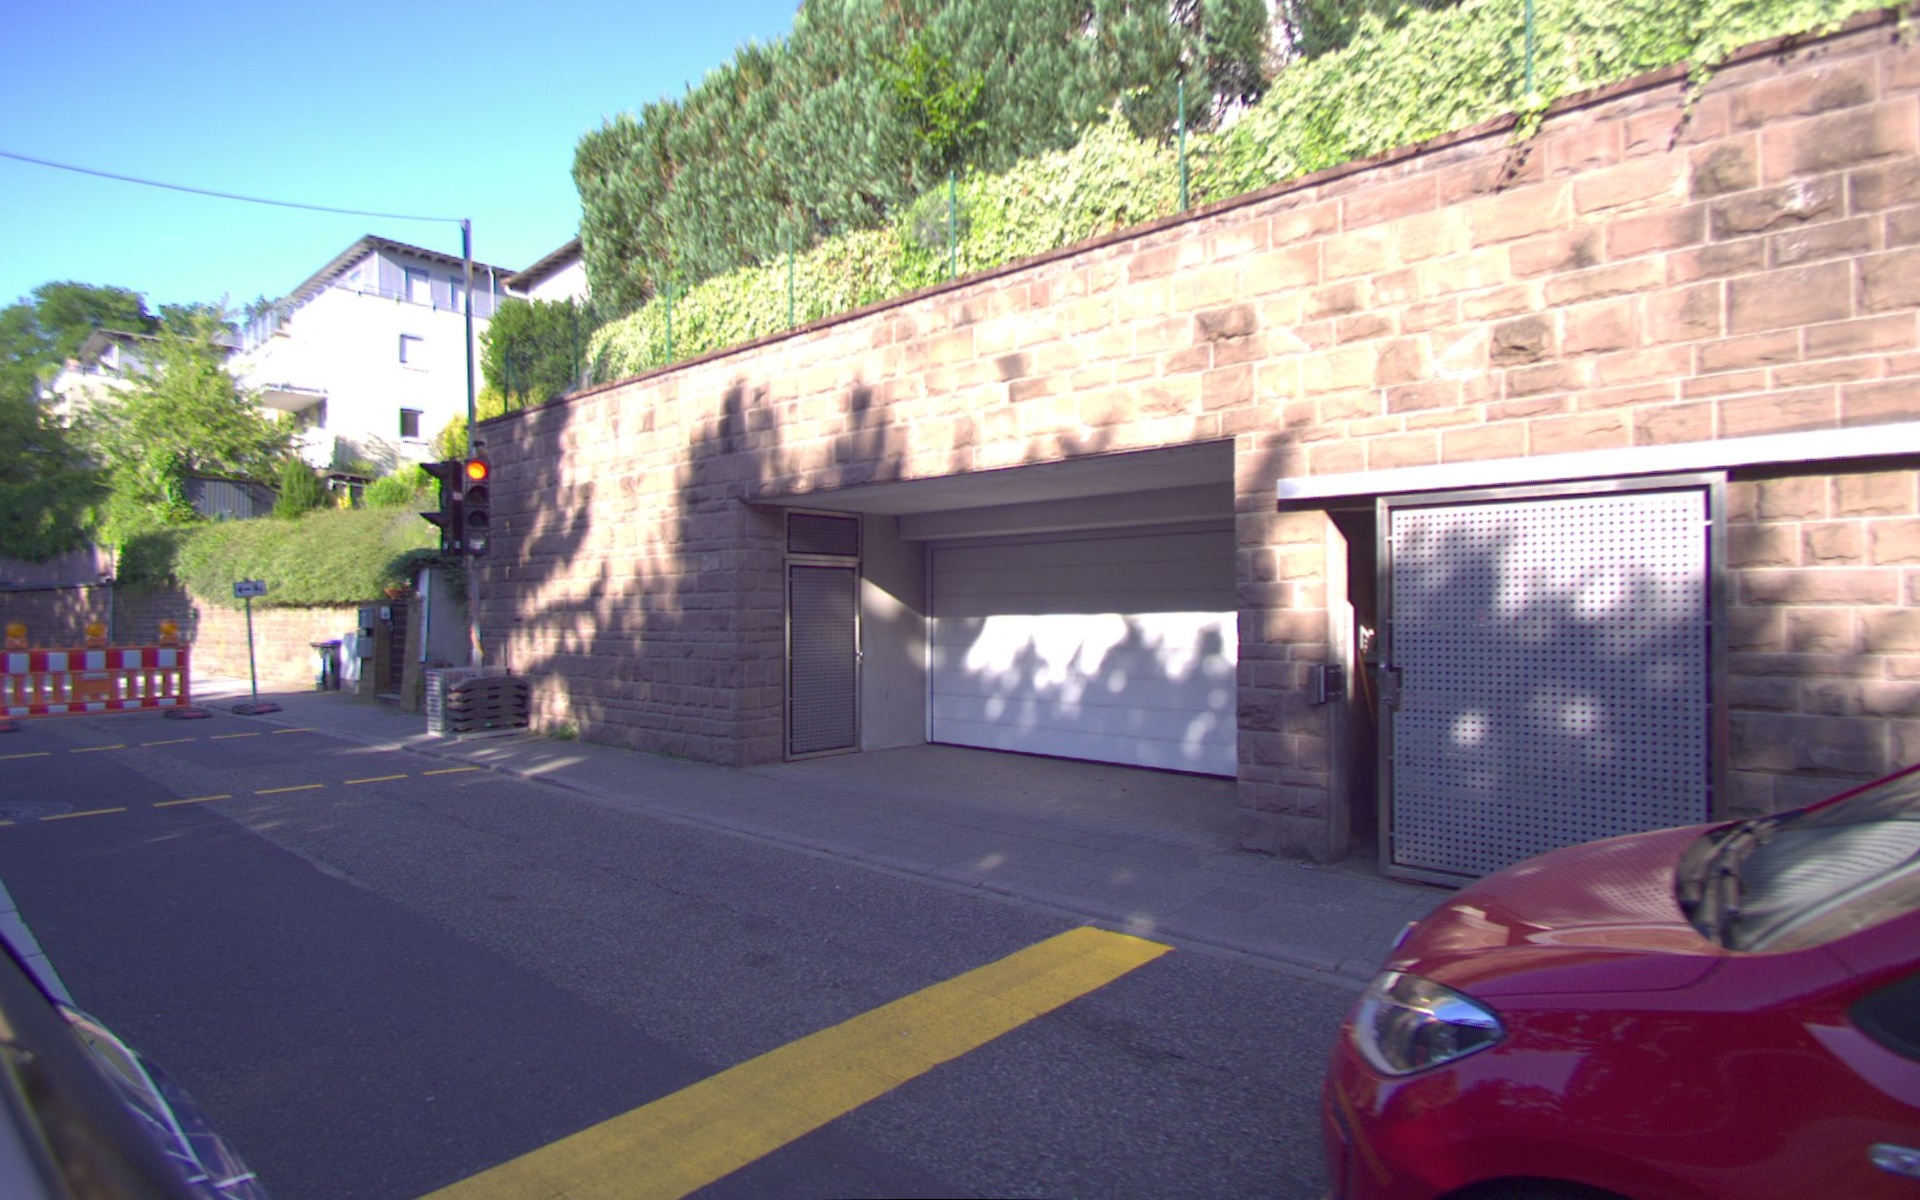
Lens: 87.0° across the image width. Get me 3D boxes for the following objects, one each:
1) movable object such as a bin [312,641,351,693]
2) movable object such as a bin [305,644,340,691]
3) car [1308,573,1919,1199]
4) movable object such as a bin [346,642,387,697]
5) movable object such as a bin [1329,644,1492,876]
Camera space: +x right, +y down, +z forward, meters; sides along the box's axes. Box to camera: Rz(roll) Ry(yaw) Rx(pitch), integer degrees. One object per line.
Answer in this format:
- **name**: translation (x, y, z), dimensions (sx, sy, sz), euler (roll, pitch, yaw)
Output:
- **movable object such as a bin**: translation (-11.325, 1.197, 18.242), dimensions (0.500, 0.890, 0.451), euler (-1, 0, 40)
- **movable object such as a bin**: translation (-11.682, 1.230, 18.548), dimensions (0.392, 0.840, 0.450), euler (-1, -1, 39)
- **car**: translation (2.477, 0.684, 1.230), dimensions (3.559, 1.432, 1.610), euler (-1, -2, 40)
- **movable object such as a bin**: translation (-10.116, 1.171, 17.264), dimensions (0.500, 0.890, 0.451), euler (-1, 0, 40)
- **movable object such as a bin**: translation (2.548, 0.849, 5.725), dimensions (0.665, 1.184, 0.651), euler (-1, -2, 42)
